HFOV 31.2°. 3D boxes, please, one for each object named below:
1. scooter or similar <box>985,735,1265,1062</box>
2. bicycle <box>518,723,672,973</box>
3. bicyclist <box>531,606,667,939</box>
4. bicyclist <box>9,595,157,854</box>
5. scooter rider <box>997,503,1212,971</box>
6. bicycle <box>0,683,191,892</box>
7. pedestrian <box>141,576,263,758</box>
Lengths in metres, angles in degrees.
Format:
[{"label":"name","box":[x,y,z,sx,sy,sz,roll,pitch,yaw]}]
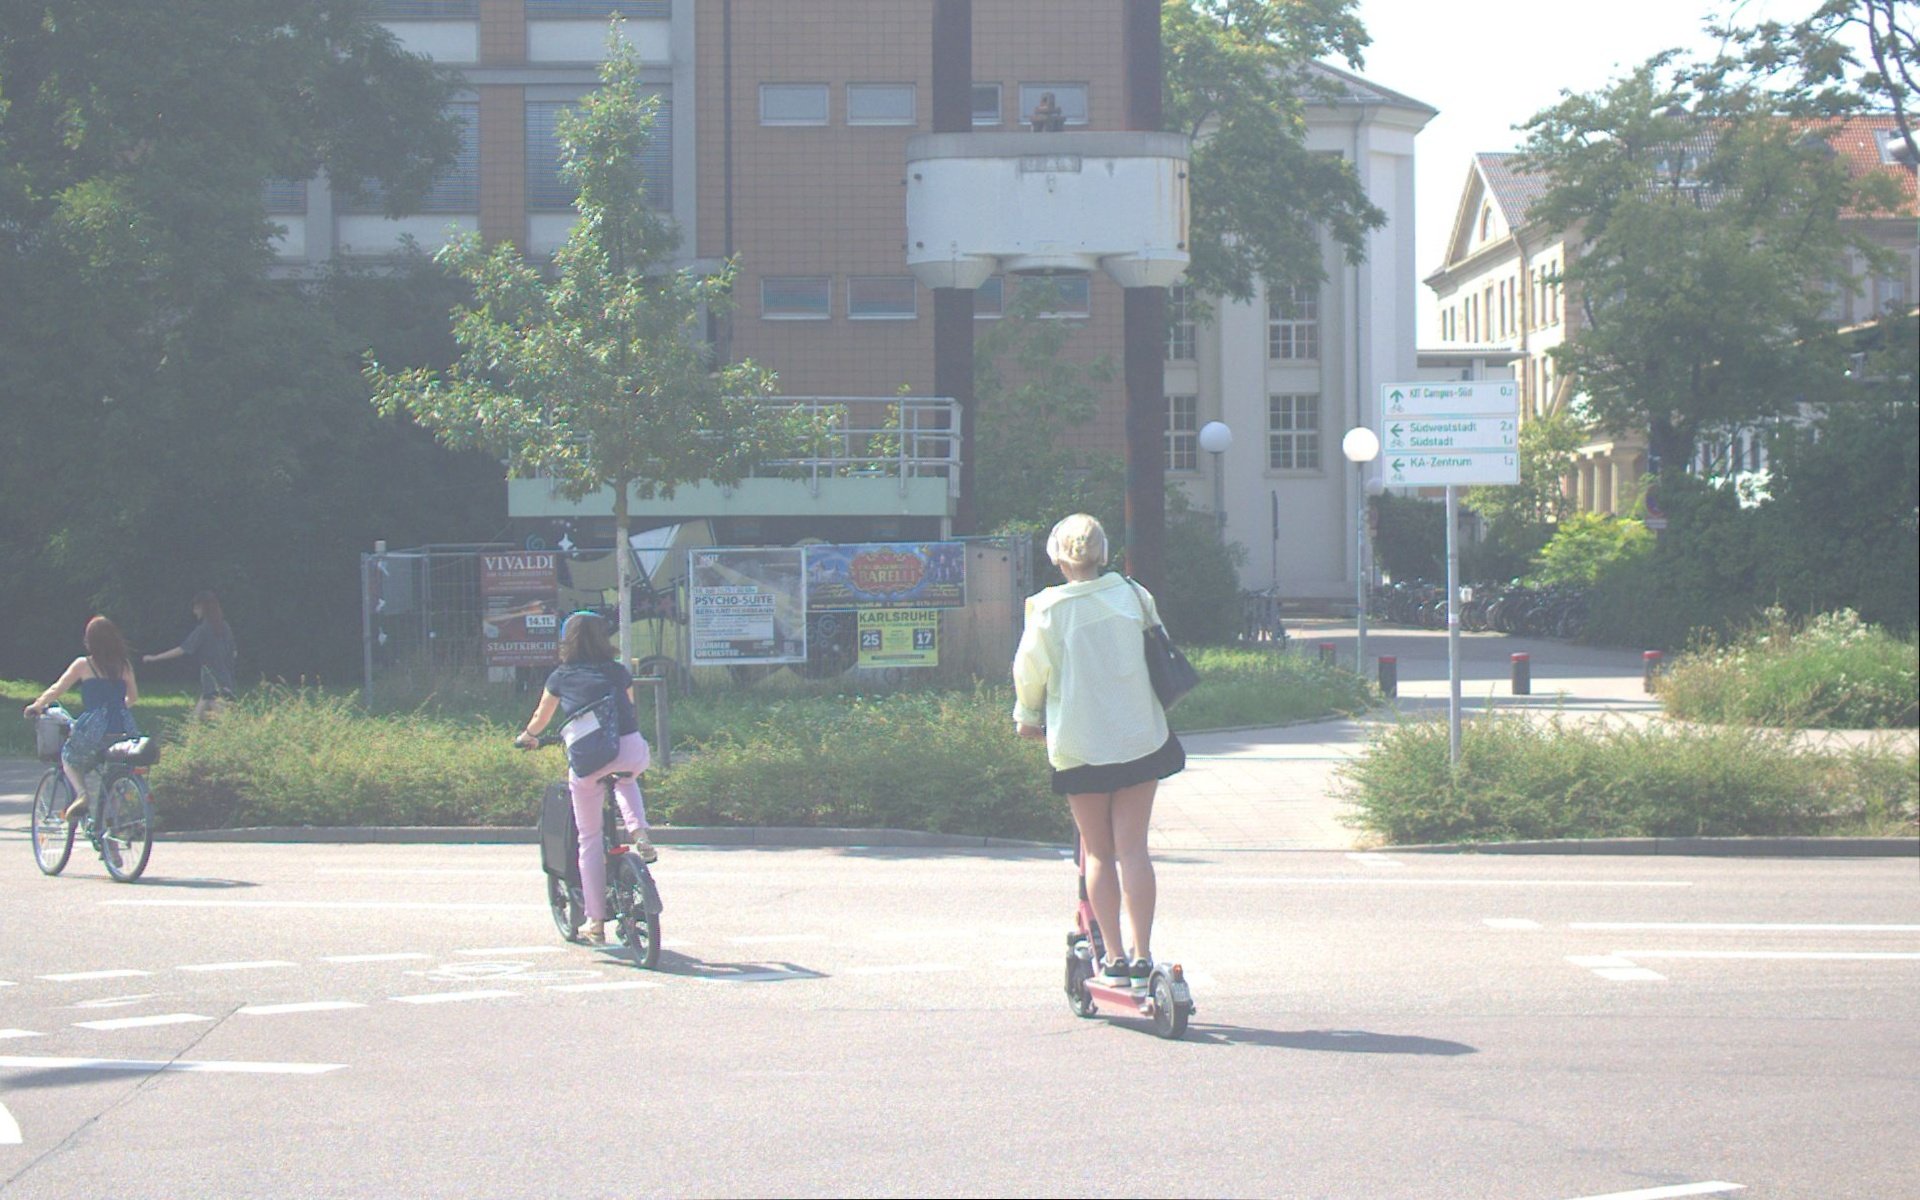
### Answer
[{"label":"scooter or similar","box":[0.571,1.051,12.690,0.556,1.056,2.004,-1,-1,-11]},{"label":"bicycle","box":[-1.744,1.135,16.229,0.556,1.056,2.004,1,-1,-10]},{"label":"bicyclist","box":[-1.668,0.778,15.825,0.548,1.491,0.804,0,-1,-11]},{"label":"bicyclist","box":[-5.675,0.788,22.231,0.690,1.593,0.844,-2,3,-28]},{"label":"scooter rider","box":[0.533,0.495,12.807,0.670,1.694,0.539,-1,0,-11]},{"label":"bicycle","box":[-5.667,1.179,22.248,0.693,1.151,2.371,-2,2,-29]},{"label":"pedestrian","box":[-7.283,0.636,33.043,0.877,1.698,0.707,-1,2,16]}]
